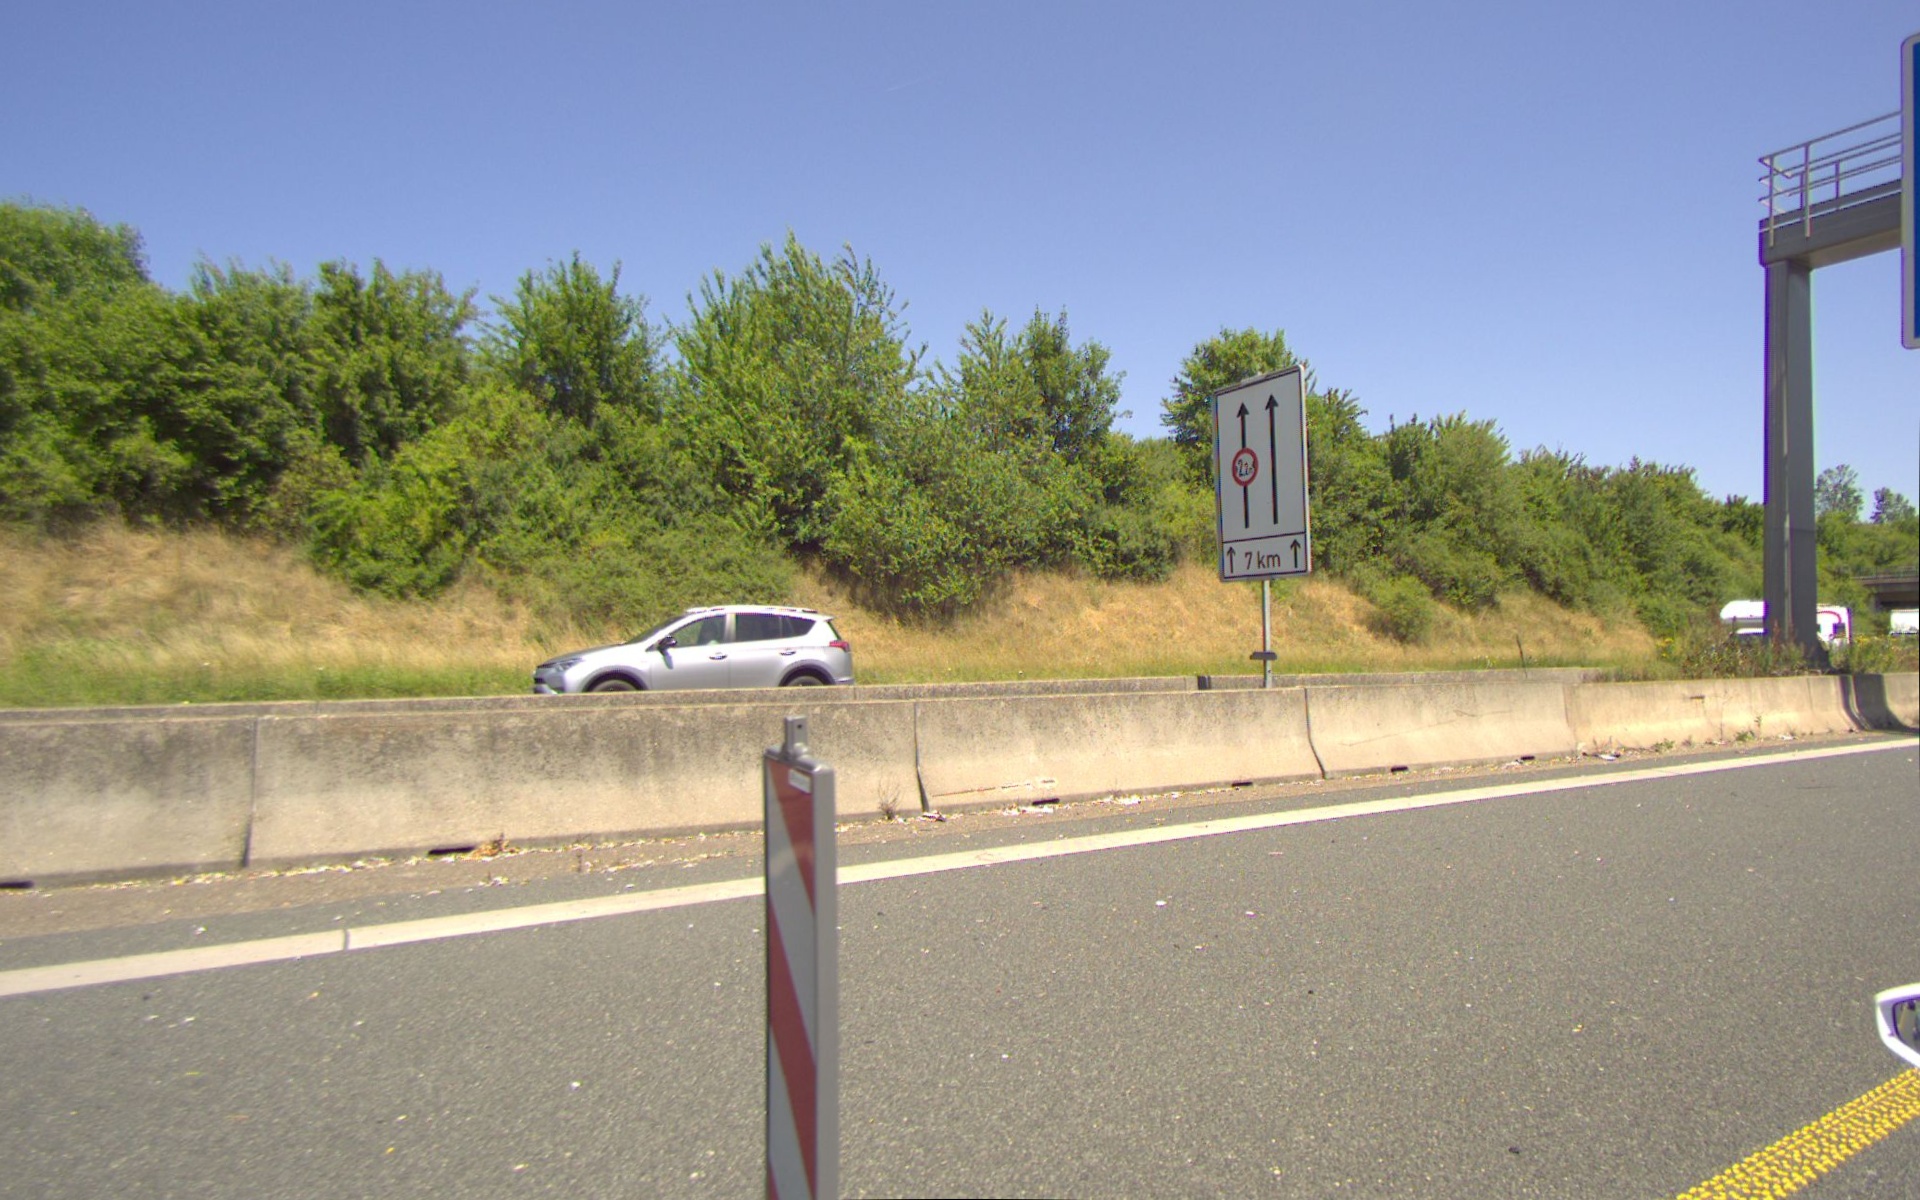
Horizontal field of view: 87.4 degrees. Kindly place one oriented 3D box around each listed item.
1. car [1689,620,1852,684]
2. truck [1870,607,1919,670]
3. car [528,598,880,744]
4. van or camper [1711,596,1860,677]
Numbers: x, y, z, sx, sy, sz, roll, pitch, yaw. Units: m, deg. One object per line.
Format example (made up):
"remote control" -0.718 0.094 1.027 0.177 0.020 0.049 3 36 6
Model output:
"car" 21.198 1.337 26.234 4.305 1.475 1.901 2 0 -30
"truck" 52.288 2.094 54.547 6.290 3.302 2.483 2 -2 -30
"car" -3.639 0.955 14.507 4.568 1.806 1.984 2 -2 -30
"van or camper" 34.846 1.538 42.341 7.537 3.188 2.424 2 -2 -30
